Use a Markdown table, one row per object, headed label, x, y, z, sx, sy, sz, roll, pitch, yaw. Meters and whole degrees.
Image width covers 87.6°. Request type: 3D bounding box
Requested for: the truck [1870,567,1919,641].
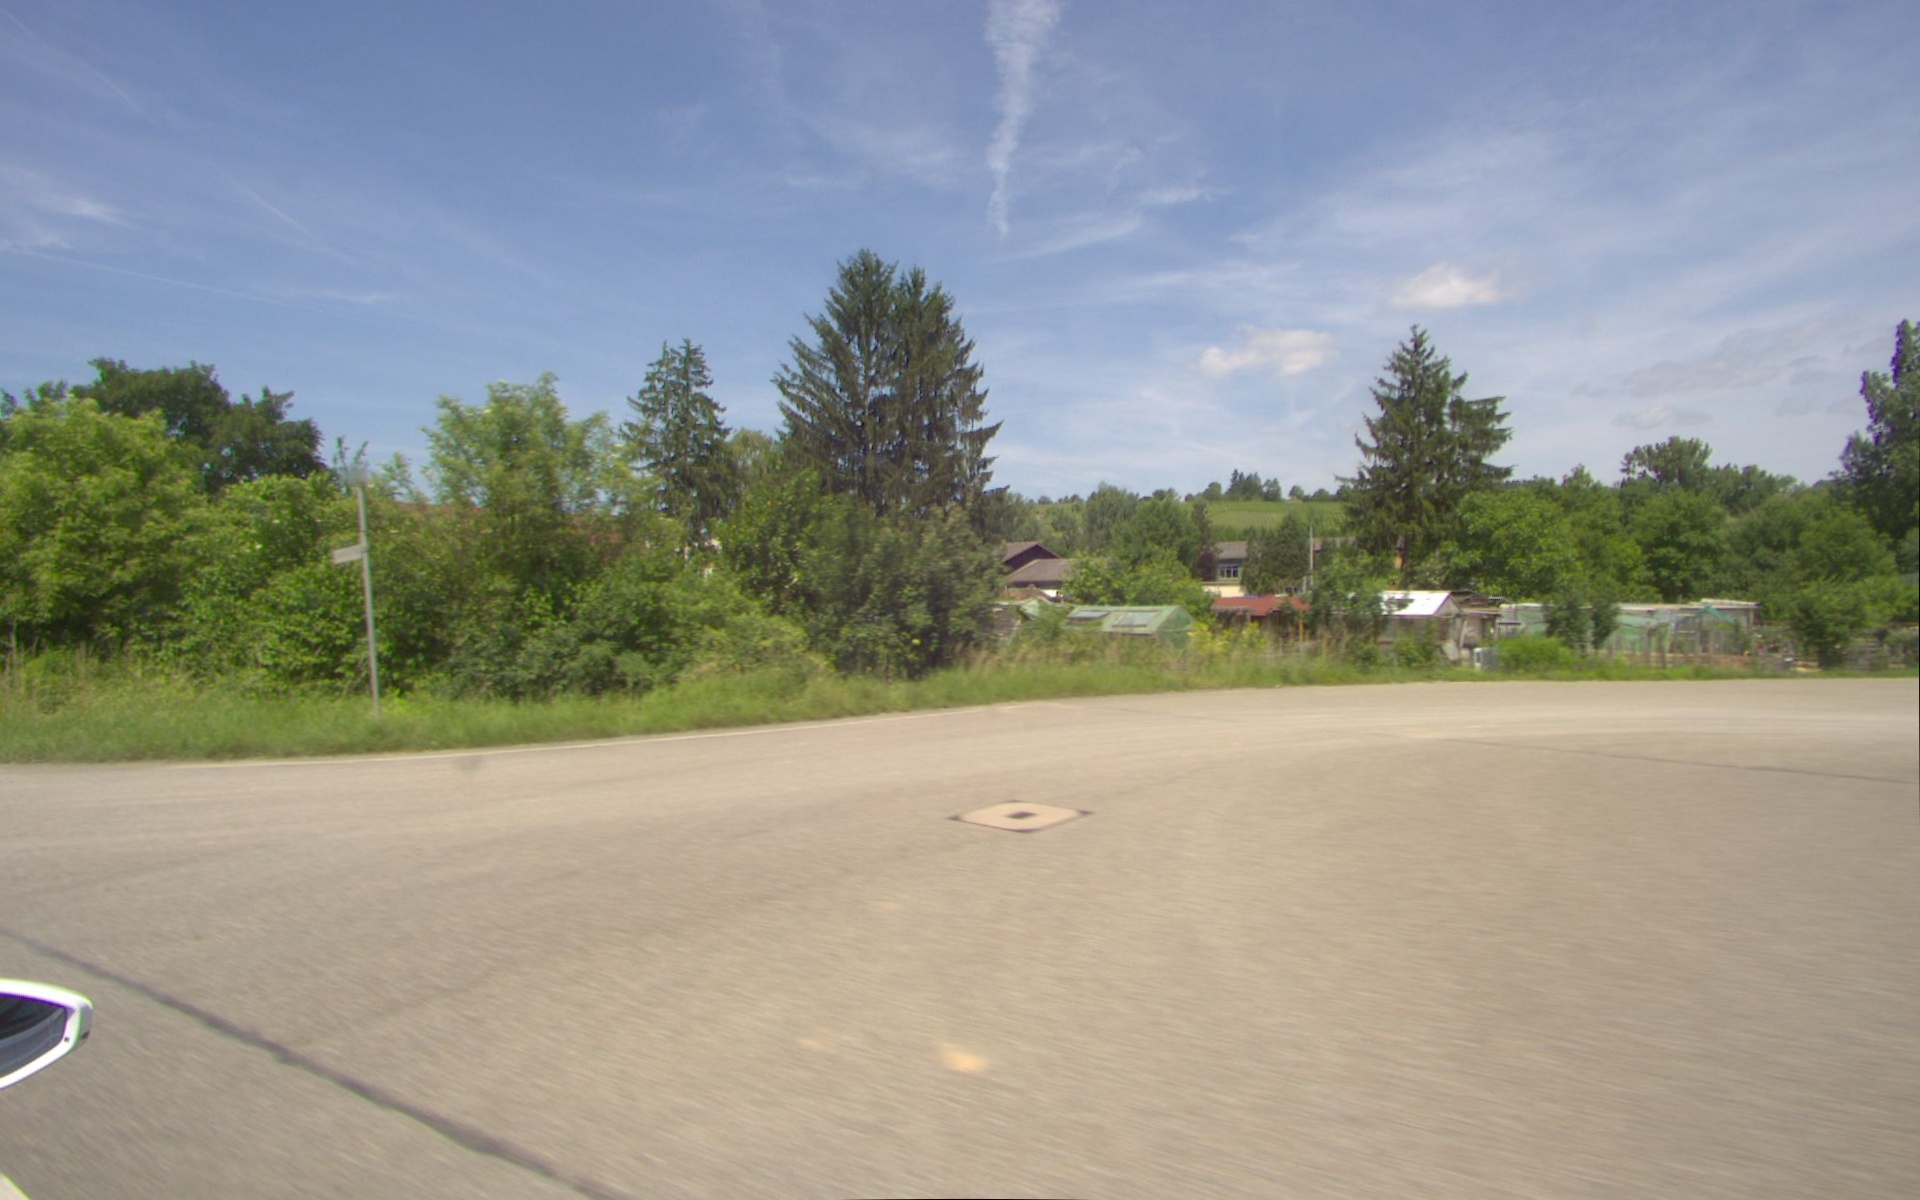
| label | x | y | z | sx | sy | sz | roll | pitch | yaw |
| --- | --- | --- | --- | --- | --- | --- | --- | --- | --- |
| truck | 49.837 | 0.211 | 50.809 | 2.344 | 3.745 | 11.535 | 0 | 0 | 27 |
